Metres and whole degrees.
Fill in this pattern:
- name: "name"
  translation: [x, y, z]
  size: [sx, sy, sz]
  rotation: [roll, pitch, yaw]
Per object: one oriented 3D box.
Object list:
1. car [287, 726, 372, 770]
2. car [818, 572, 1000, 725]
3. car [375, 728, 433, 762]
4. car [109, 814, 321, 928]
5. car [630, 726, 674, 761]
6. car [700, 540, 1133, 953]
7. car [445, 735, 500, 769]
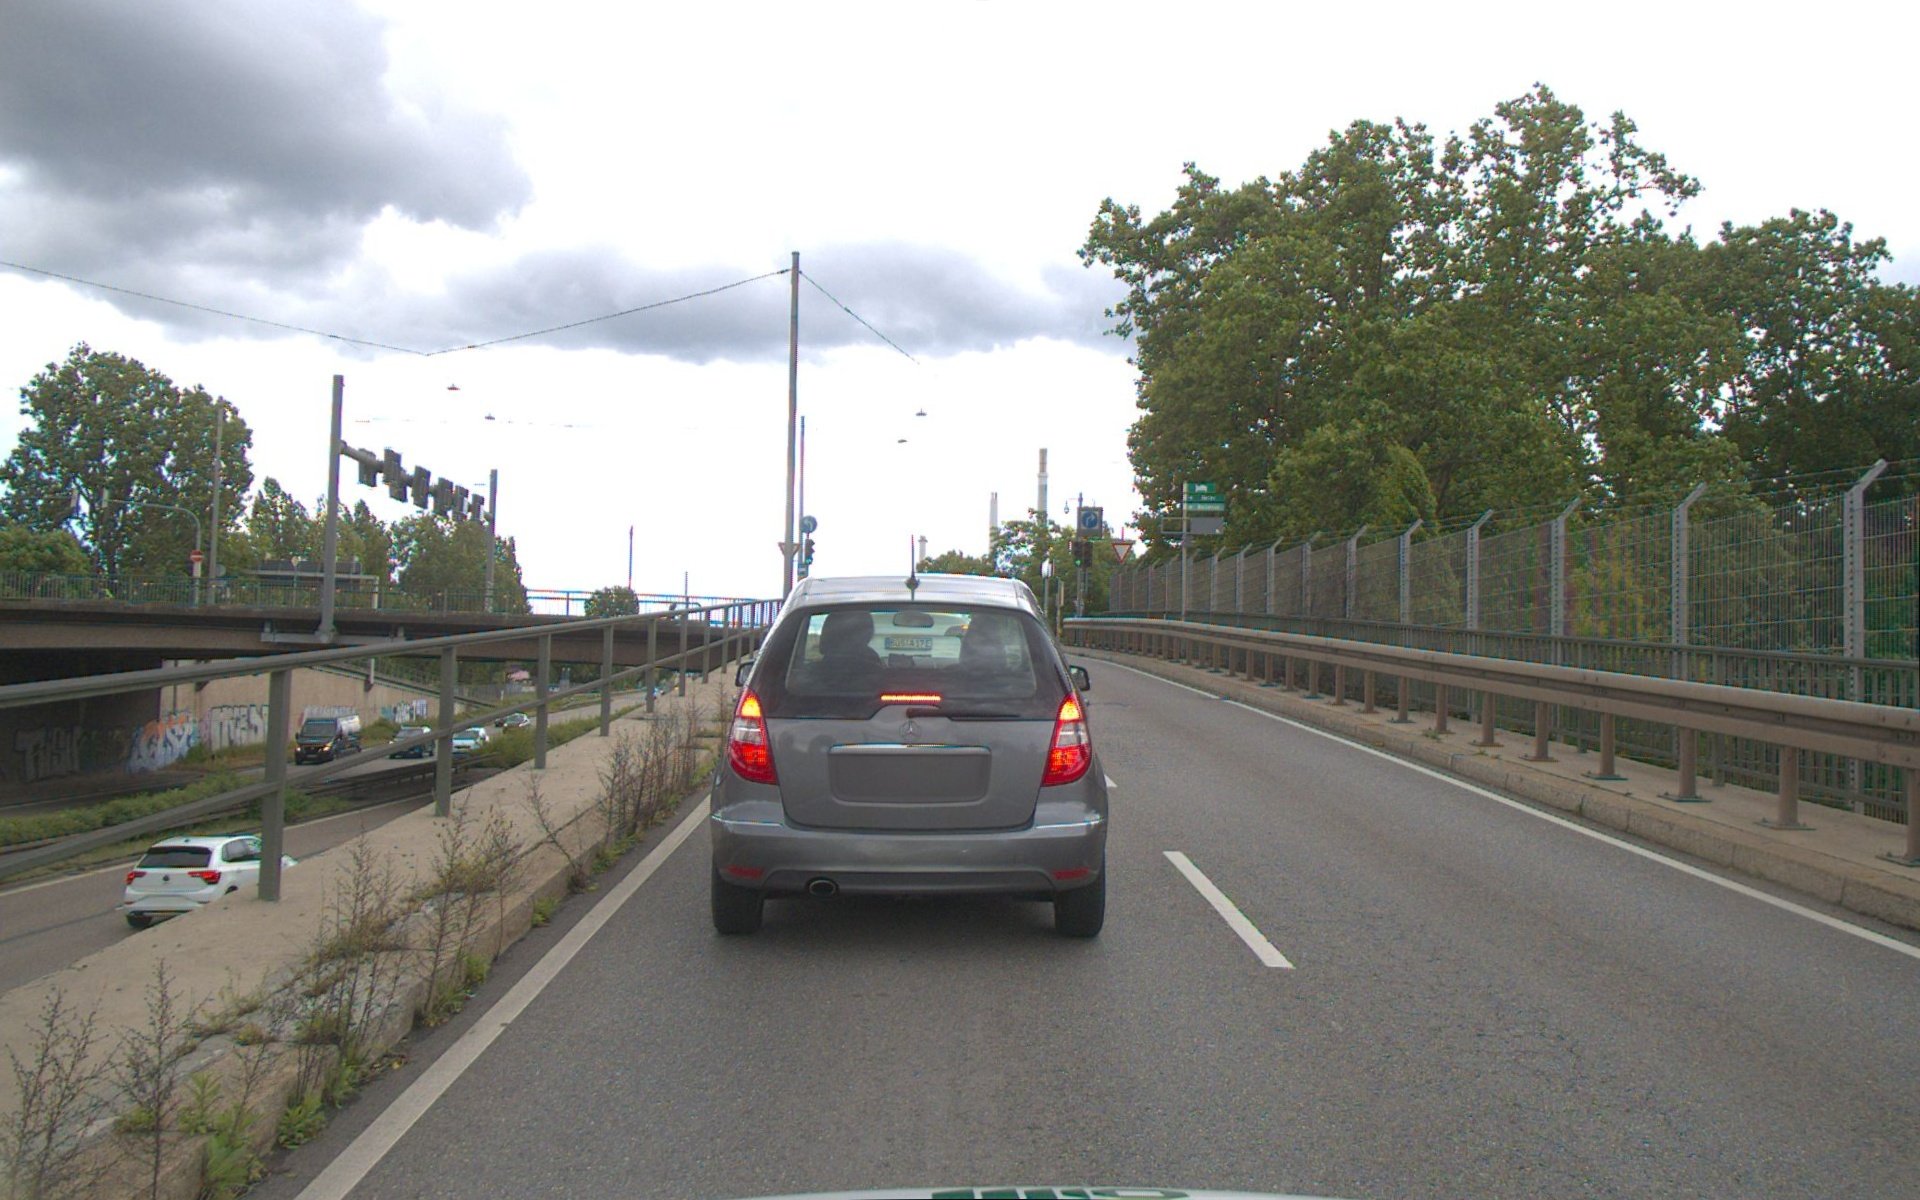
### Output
- name: "car"
  translation: [-33.416, 7.817, 87.870]
  size: [2.244, 2.193, 6.180]
  rotation: [0, -4, -1]
- name: "car"
  translation: [-0.588, 0.485, 19.800]
  size: [1.953, 1.631, 3.999]
  rotation: [0, 1, -1]
- name: "car"
  translation: [-31.091, 8.099, 92.599]
  size: [1.953, 1.691, 3.997]
  rotation: [1, -3, -2]
- name: "car"
  translation: [-13.140, 4.757, 29.454]
  size: [1.816, 1.526, 4.000]
  rotation: [0, -2, 2]
- name: "car"
  translation: [-16.695, 7.745, 89.703]
  size: [1.646, 1.766, 3.997]
  rotation: [0, -3, 0]
- name: "car"
  translation: [0.012, 0.614, 8.593]
  size: [1.713, 1.608, 4.087]
  rotation: [0, -1, 5]
- name: "car"
  translation: [-27.365, 8.527, 92.941]
  size: [1.953, 1.691, 3.997]
  rotation: [1, -3, -2]
